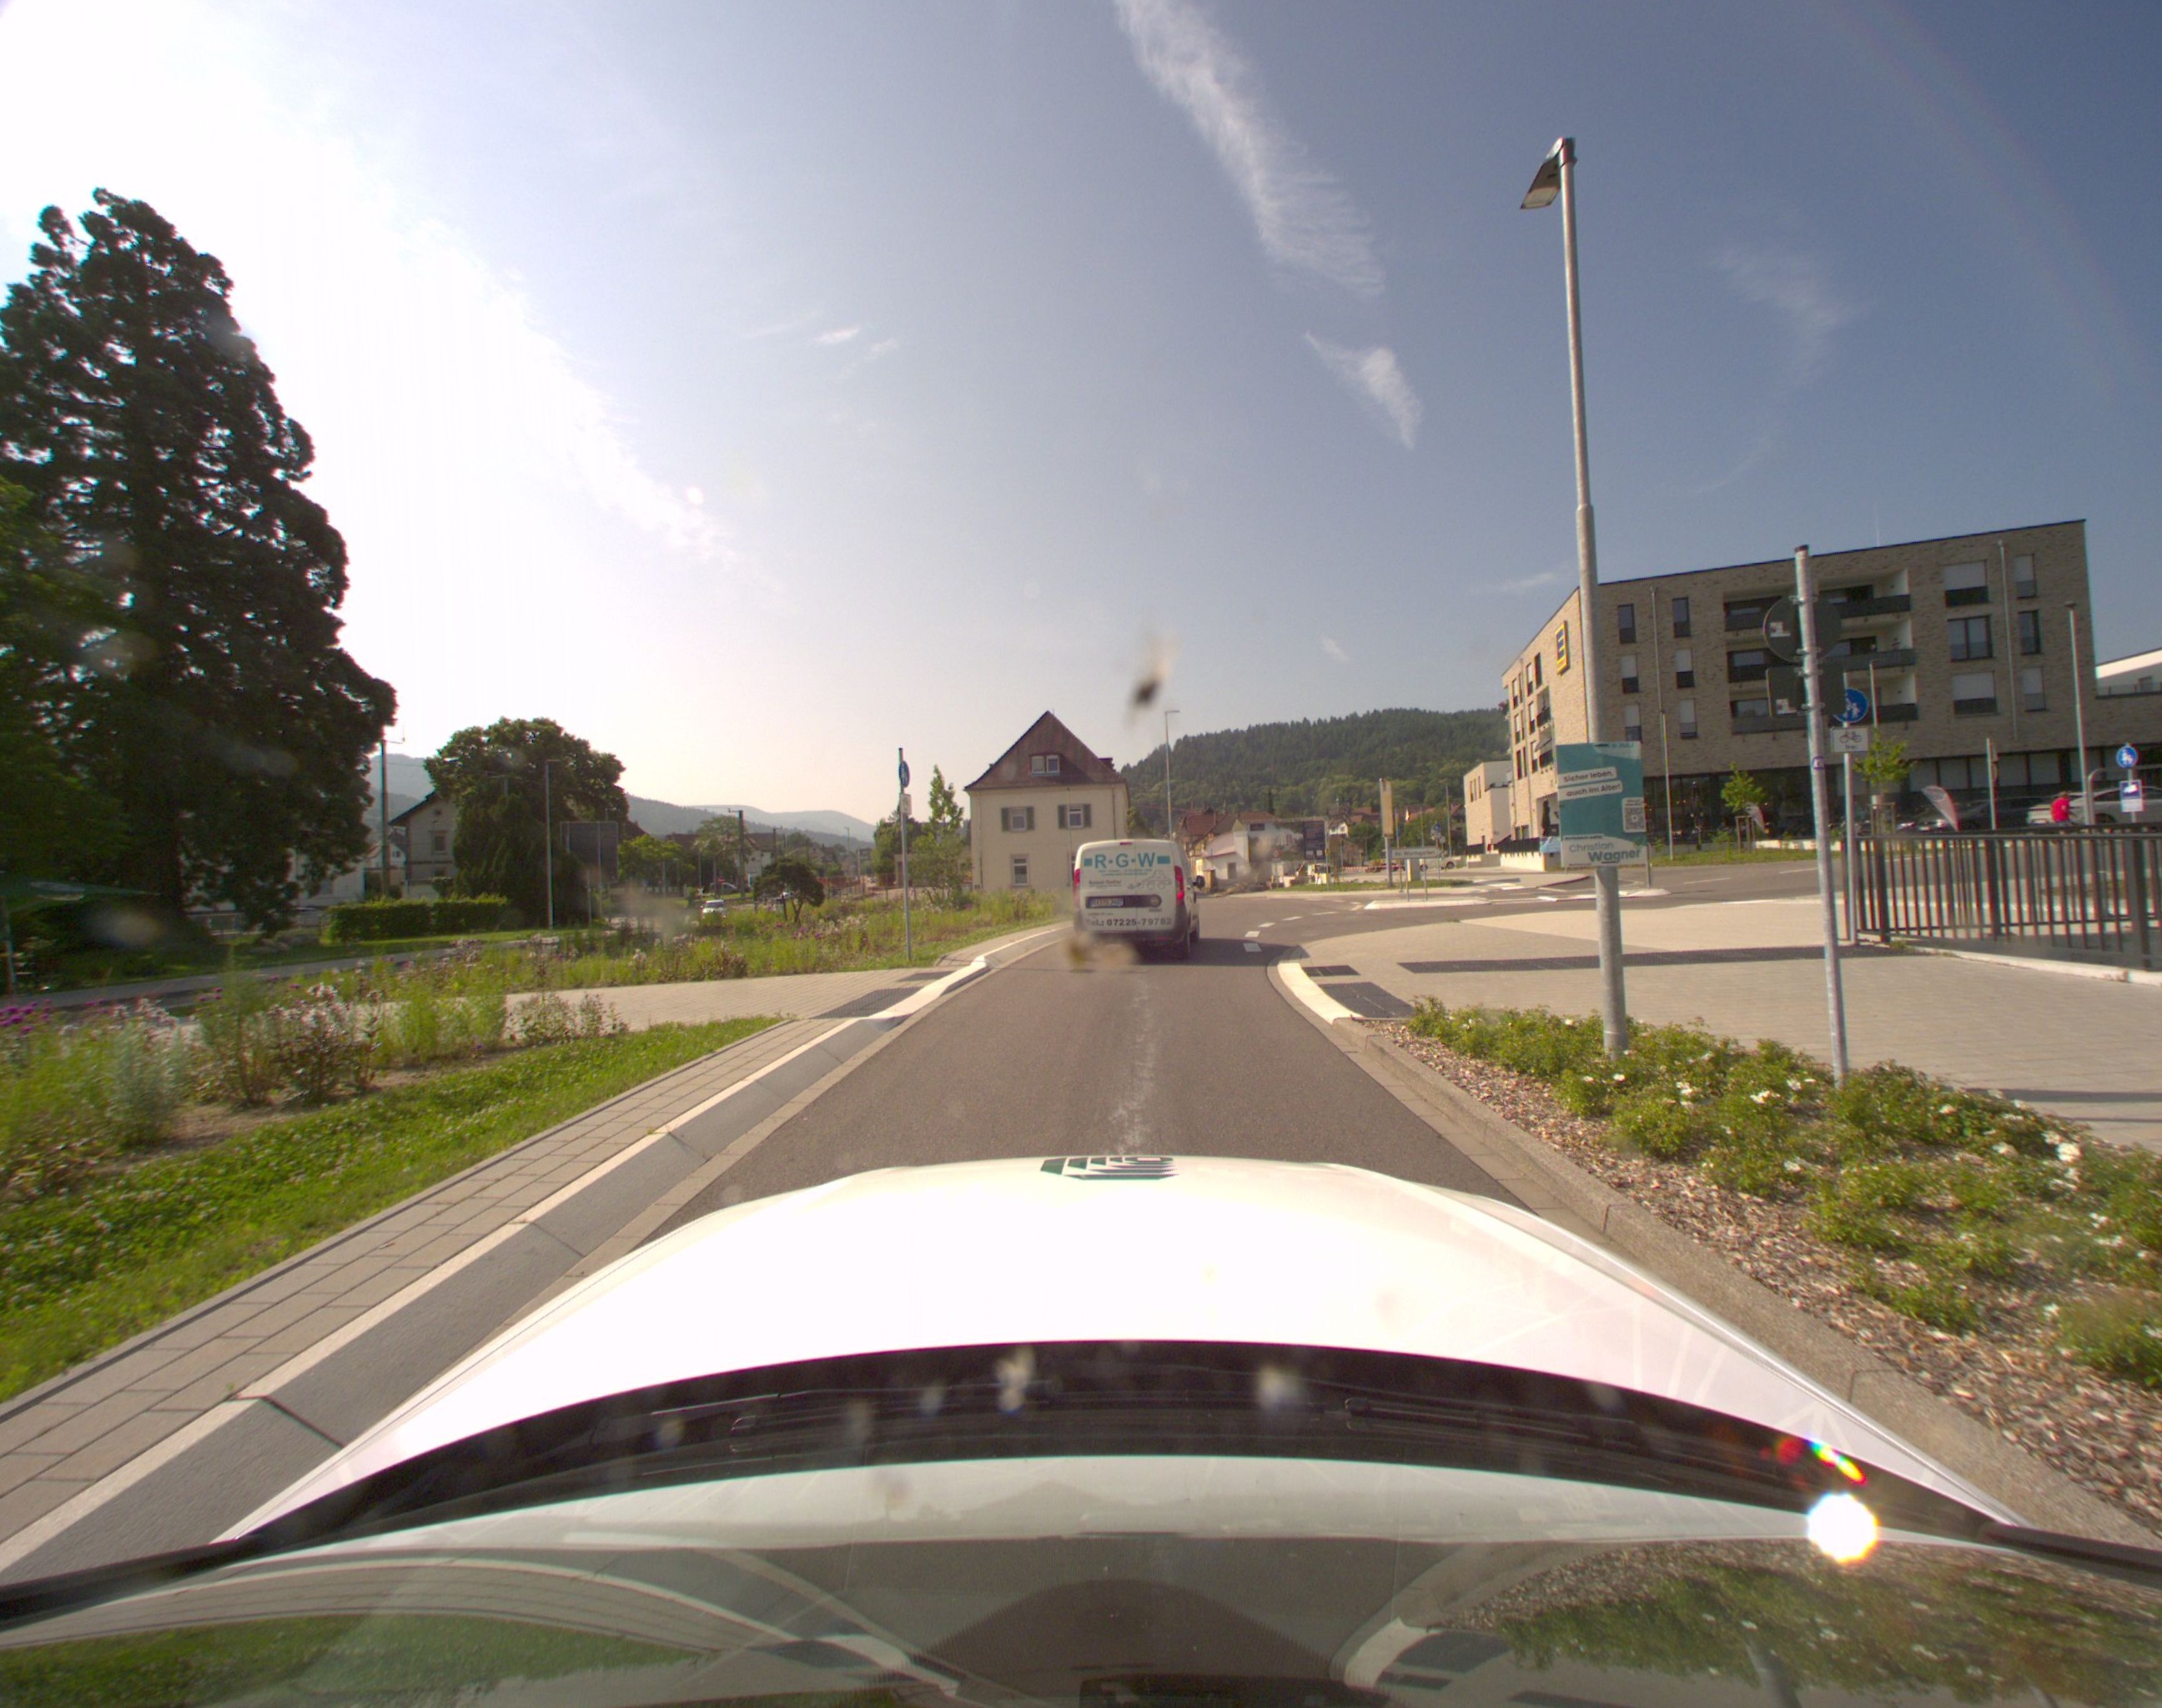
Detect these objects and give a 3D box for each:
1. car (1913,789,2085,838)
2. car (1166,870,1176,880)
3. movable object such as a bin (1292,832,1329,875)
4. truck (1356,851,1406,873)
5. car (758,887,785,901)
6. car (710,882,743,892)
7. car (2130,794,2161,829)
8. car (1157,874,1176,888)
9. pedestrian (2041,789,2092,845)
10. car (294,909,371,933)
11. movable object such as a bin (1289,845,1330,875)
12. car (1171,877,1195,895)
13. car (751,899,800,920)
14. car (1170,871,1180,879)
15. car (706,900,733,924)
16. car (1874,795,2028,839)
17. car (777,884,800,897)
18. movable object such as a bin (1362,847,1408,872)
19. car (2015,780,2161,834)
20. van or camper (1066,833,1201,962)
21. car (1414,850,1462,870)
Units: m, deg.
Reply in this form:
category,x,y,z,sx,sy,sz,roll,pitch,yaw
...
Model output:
category,x,y,z,sx,sy,sz,roll,pitch,yaw
car,38.351,-1.661,34.173,4.411,1.555,1.866,-5,0,16
car,18.435,4.286,167.190,1.863,2.014,4.003,-2,-1,3
movable object such as a bin,21.574,0.097,76.889,2.282,3.854,7.814,0,-2,8
truck,36.313,1.026,98.704,5.264,2.266,2.232,-5,-3,29
car,-34.619,4.427,91.227,1.706,1.398,3.993,0,0,-5
car,-49.614,4.632,114.052,3.988,1.398,1.708,0,0,-11
car,45.760,-1.886,33.030,1.626,1.393,4.247,-5,-2,15
car,10.117,3.176,96.893,1.805,1.597,3.925,0,-1,0
pedestrian,31.503,-1.163,26.050,0.759,1.741,0.873,0,-1,-26
car,-52.303,4.666,56.973,1.586,1.495,3.673,-1,-2,32
movable object such as a bin,27.904,0.722,99.367,2.822,3.622,5.772,-1,-1,38
car,9.762,3.052,77.981,1.805,1.597,3.925,0,-1,0
car,-23.445,4.242,62.418,3.948,1.398,1.725,-1,-1,38
car,18.090,4.010,157.216,1.802,1.597,3.930,0,-1,4
car,-26.137,4.143,58.954,1.677,1.531,3.968,-3,-2,-24
car,39.727,-1.668,37.318,4.411,1.555,1.866,-5,0,16
car,-35.563,4.480,99.162,1.706,1.398,3.993,0,0,-5
movable object such as a bin,35.532,0.612,95.249,4.568,2.570,1.937,-5,-3,29
car,36.736,-1.696,28.620,4.766,1.555,1.867,-5,0,19
van or camper,1.065,0.704,14.059,1.817,1.845,4.199,-2,-2,10
car,30.955,0.523,70.749,3.391,1.495,1.595,-4,-3,2
